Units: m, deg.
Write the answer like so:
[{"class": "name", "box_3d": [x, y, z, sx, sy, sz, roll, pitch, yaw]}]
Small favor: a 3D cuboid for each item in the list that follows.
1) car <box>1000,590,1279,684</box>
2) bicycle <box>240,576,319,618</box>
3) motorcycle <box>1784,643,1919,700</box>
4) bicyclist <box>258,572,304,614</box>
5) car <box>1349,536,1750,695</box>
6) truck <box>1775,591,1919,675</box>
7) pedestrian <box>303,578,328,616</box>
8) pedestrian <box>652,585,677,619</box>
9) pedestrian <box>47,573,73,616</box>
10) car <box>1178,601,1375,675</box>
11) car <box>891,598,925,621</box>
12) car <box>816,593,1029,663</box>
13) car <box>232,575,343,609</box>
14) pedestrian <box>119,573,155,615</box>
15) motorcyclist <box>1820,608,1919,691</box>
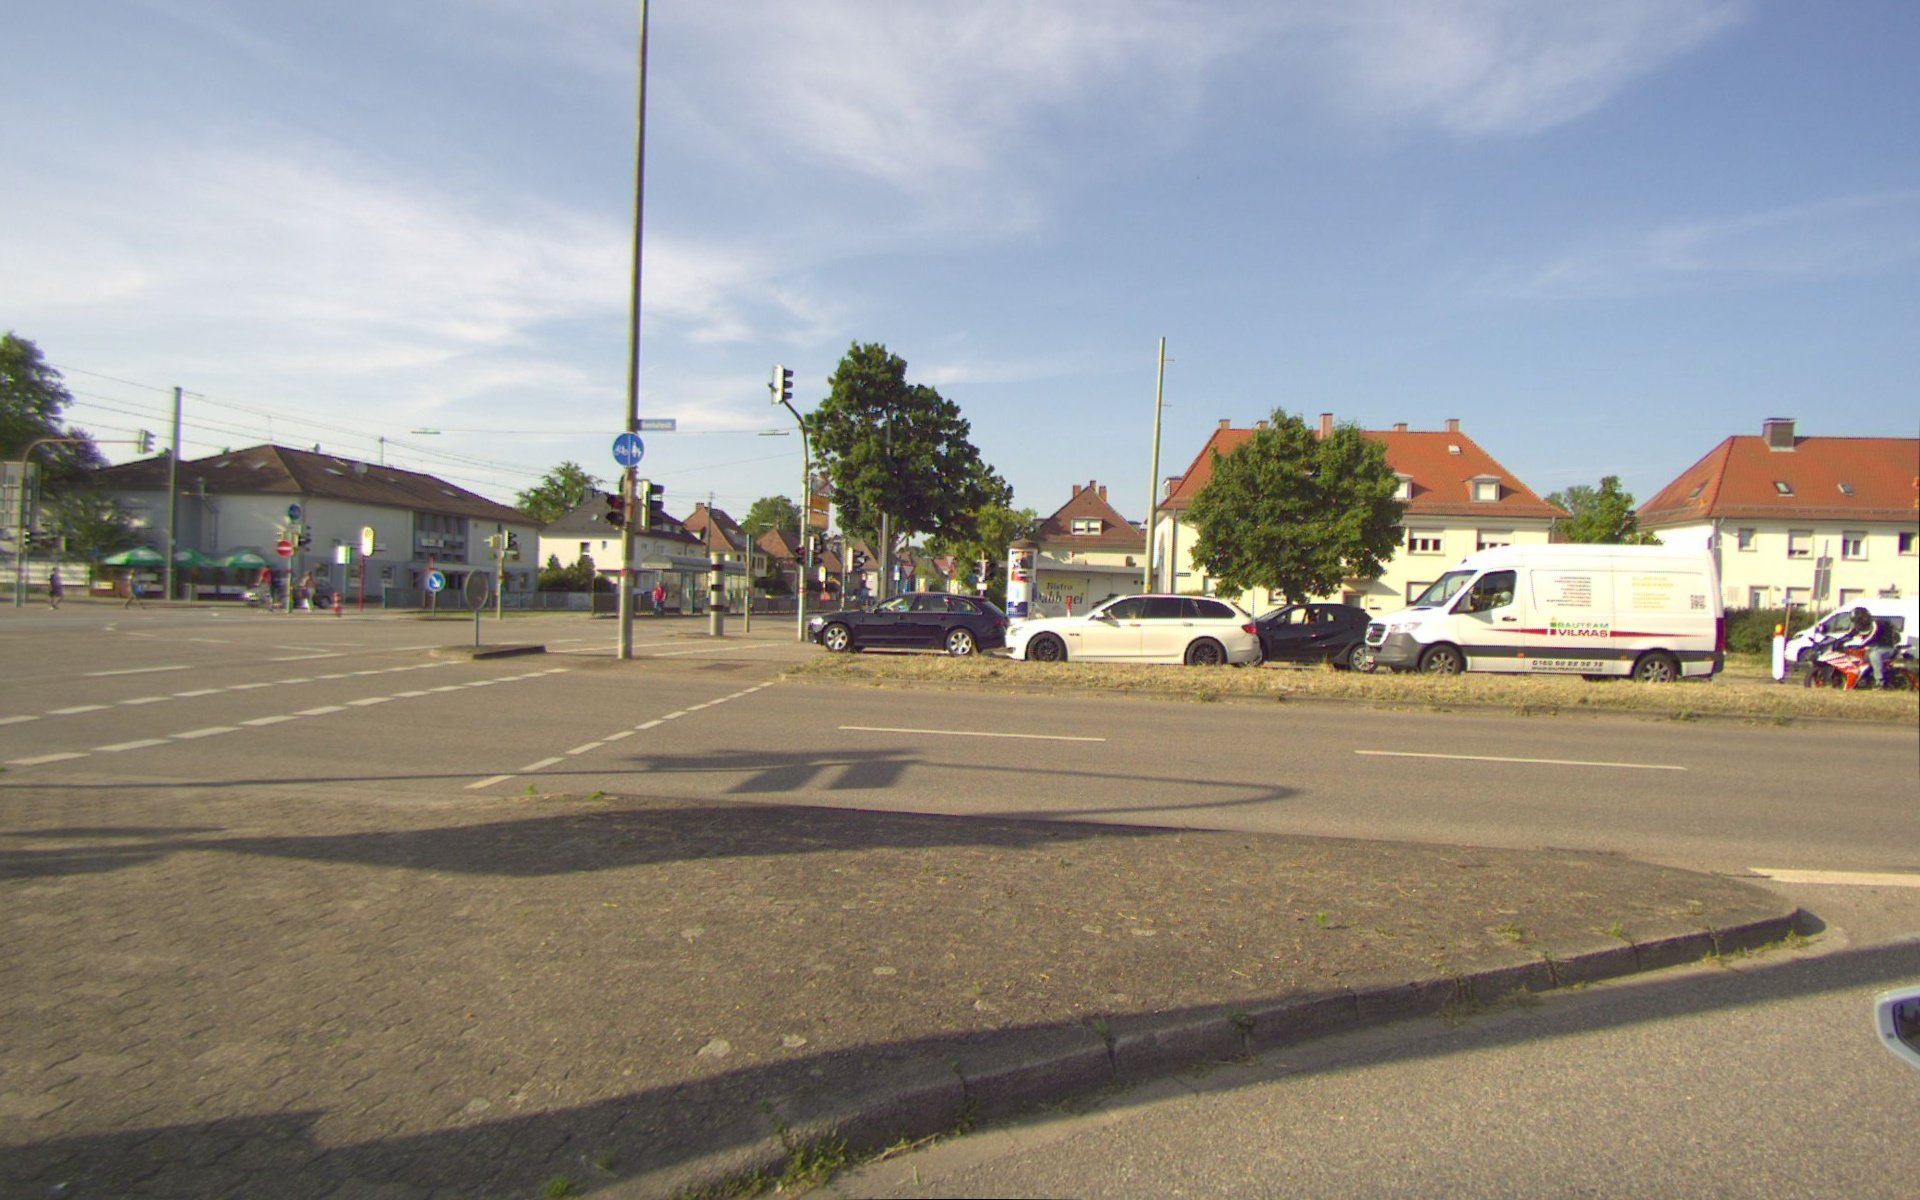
[{"class": "car", "box_3d": [3.347, 0.671, 19.329, 5.008, 1.584, 1.841, 2, 0, 6]}, {"class": "bicycle", "box_3d": [-24.930, -0.100, 36.816, 2.041, 1.365, 1.108, 3, -1, -4]}, {"class": "motorcycle", "box_3d": [15.727, 1.231, 17.397, 2.232, 0.878, 0.691, 2, 0, 4]}, {"class": "bicyclist", "box_3d": [-24.876, -0.254, 36.812, 0.870, 1.450, 1.136, 3, -1, -4]}, {"class": "car", "box_3d": [10.713, 0.257, 18.687, 6.102, 2.618, 2.001, 2, 0, 5]}, {"class": "truck", "box_3d": [30.514, 1.079, 32.265, 2.250, 2.558, 6.307, 2, 1, -29]}, {"class": "pedestrian", "box_3d": [-25.658, -0.124, 39.993, 0.568, 1.450, 0.548, 3, 0, 6]}, {"class": "pedestrian", "box_3d": [-13.562, 0.099, 46.090, 0.740, 1.518, 0.827, 3, -1, 7]}, {"class": "pedestrian", "box_3d": [-34.566, -0.210, 38.584, 0.503, 1.620, 0.540, 2, 0, 8]}, {"class": "car", "box_3d": [7.010, 0.819, 22.581, 3.919, 1.472, 1.717, 2, 0, 6]}, {"class": "car", "box_3d": [-3.486, 0.639, 68.281, 1.646, 1.416, 4.002, 3, -1, 6]}, {"class": "car", "box_3d": [-0.809, 0.620, 23.401, 4.742, 1.430, 1.717, 2, 0, 6]}, {"class": "car", "box_3d": [-32.374, -0.359, 48.514, 1.960, 1.528, 4.610, 2, 0, 5]}, {"class": "pedestrian", "box_3d": [-32.707, -0.247, 39.932, 0.735, 1.620, 0.813, 2, 0, 4]}, {"class": "motorcyclist", "box_3d": [15.733, 0.834, 17.391, 1.047, 1.370, 0.680, 2, 0, 4]}]
